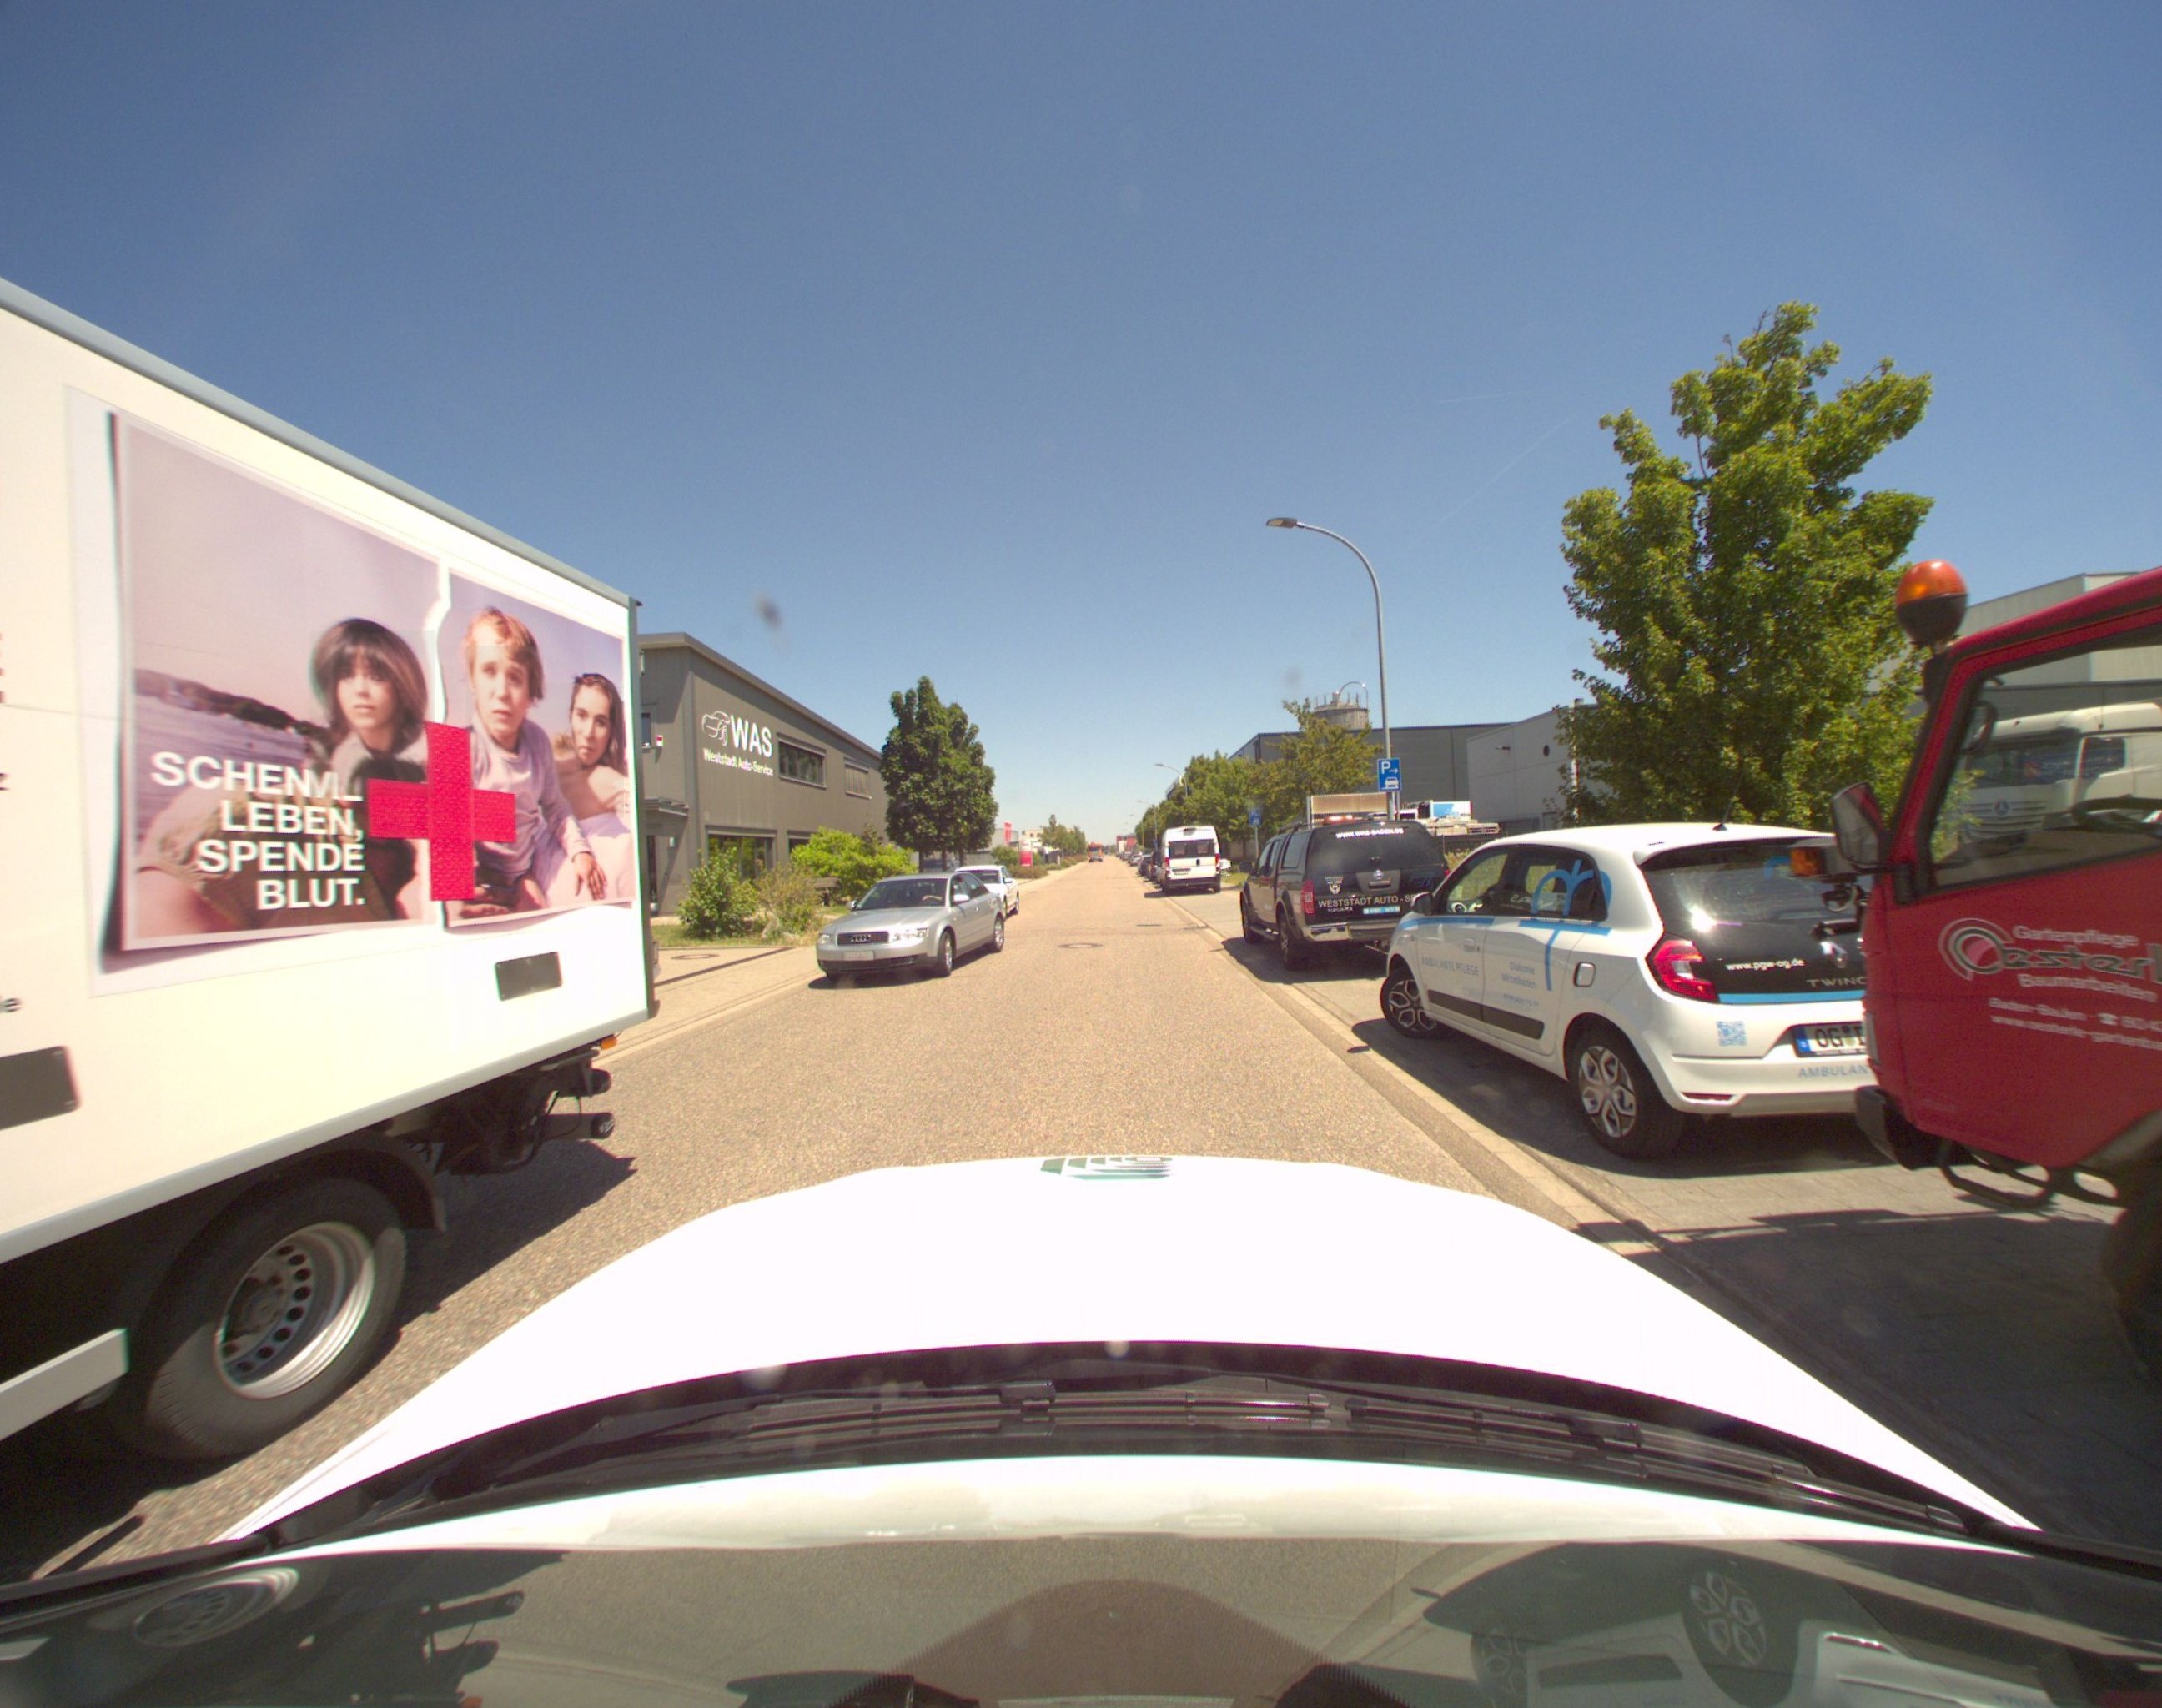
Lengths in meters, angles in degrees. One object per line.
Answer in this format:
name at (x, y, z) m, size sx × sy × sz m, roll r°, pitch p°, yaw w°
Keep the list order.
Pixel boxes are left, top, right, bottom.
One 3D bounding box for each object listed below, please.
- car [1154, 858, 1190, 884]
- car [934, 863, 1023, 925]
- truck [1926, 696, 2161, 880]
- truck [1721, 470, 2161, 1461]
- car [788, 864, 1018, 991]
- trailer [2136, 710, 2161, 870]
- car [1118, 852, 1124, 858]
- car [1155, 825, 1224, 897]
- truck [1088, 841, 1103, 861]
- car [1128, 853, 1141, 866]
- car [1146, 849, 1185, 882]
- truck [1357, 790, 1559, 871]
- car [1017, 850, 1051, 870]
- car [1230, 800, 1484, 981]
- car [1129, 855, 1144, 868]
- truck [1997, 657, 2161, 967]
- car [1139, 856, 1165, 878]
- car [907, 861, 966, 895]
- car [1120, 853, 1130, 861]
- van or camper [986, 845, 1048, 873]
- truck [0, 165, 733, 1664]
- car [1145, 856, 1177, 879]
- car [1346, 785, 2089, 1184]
car at (4.917, 0.927, 44.446) m, size 1.704 × 1.287 × 4.119 m, roll -3°, pitch -1°, yaw 4°
car at (-2.714, 1.023, 22.548) m, size 1.723 × 1.458 × 4.493 m, roll -2°, pitch 0°, yaw 2°
truck at (23.649, -1.451, 18.821) m, size 5.043 × 3.875 × 2.805 m, roll -2°, pitch -1°, yaw 2°
truck at (3.154, 0.211, 0.717) m, size 1.673 × 2.181 × 4.392 m, roll -4°, pitch 0°, yaw 2°
car at (-2.437, 0.962, 12.458) m, size 1.772 × 1.422 × 4.426 m, roll -5°, pitch -1°, yaw 10°
trailer at (32.431, -1.824, 18.546) m, size 12.569 × 3.875 × 2.805 m, roll -2°, pitch -1°, yaw 2°
car at (10.400, 0.165, 210.455) m, size 1.489 × 1.409 × 3.502 m, roll -3°, pitch 0°, yaw 2°
car at (4.203, 0.252, 32.523) m, size 2.257 × 2.497 × 6.158 m, roll -3°, pitch 0°, yaw 4°
truck at (2.738, -0.495, 152.115) m, size 2.439 × 3.513 × 8.276 m, roll -4°, pitch 0°, yaw 2°
car at (7.636, 0.738, 116.668) m, size 1.715 × 1.694 × 3.987 m, roll -3°, pitch 0°, yaw 3°
car at (5.099, 0.678, 49.495) m, size 1.986 × 1.825 × 4.355 m, roll -3°, pitch -1°, yaw 2°
truck at (20.660, -1.265, 44.820) m, size 9.974 × 3.822 × 3.028 m, roll -3°, pitch -1°, yaw -9°
car at (-6.775, 0.818, 117.342) m, size 4.703 × 2.586 × 1.998 m, roll -3°, pitch 0°, yaw -2°
car at (3.532, 0.420, 11.631) m, size 1.986 × 1.884 × 5.158 m, roll -4°, pitch 0°, yaw 2°
car at (6.697, 0.901, 98.621) m, size 1.711 × 1.450 × 3.648 m, roll -3°, pitch 0°, yaw 2°
truck at (13.041, -0.530, 7.735) m, size 5.801 × 2.913 × 2.415 m, roll -3°, pitch -1°, yaw 1°
car at (5.398, 0.956, 61.775) m, size 1.700 × 1.504 × 4.715 m, roll -3°, pitch -1°, yaw 7°
car at (-8.176, 1.327, 46.570) m, size 1.984 × 1.735 × 4.921 m, roll -1°, pitch 1°, yaw 6°
car at (7.906, 0.486, 145.864) m, size 1.579 × 1.409 × 3.502 m, roll -3°, pitch 0°, yaw 2°
van or camper at (-7.901, 0.639, 101.030) m, size 7.358 × 3.037 × 2.791 m, roll -3°, pitch 0°, yaw 1°
truck at (-3.257, 0.132, 1.134) m, size 2.352 × 2.860 × 6.419 m, roll -4°, pitch -1°, yaw 2°
car at (5.456, 0.933, 55.987) m, size 1.843 × 1.431 × 4.715 m, roll -3°, pitch -1°, yaw 2°
car at (3.301, 0.555, 5.396) m, size 1.732 × 1.530 × 4.000 m, roll -4°, pitch 0°, yaw 1°
